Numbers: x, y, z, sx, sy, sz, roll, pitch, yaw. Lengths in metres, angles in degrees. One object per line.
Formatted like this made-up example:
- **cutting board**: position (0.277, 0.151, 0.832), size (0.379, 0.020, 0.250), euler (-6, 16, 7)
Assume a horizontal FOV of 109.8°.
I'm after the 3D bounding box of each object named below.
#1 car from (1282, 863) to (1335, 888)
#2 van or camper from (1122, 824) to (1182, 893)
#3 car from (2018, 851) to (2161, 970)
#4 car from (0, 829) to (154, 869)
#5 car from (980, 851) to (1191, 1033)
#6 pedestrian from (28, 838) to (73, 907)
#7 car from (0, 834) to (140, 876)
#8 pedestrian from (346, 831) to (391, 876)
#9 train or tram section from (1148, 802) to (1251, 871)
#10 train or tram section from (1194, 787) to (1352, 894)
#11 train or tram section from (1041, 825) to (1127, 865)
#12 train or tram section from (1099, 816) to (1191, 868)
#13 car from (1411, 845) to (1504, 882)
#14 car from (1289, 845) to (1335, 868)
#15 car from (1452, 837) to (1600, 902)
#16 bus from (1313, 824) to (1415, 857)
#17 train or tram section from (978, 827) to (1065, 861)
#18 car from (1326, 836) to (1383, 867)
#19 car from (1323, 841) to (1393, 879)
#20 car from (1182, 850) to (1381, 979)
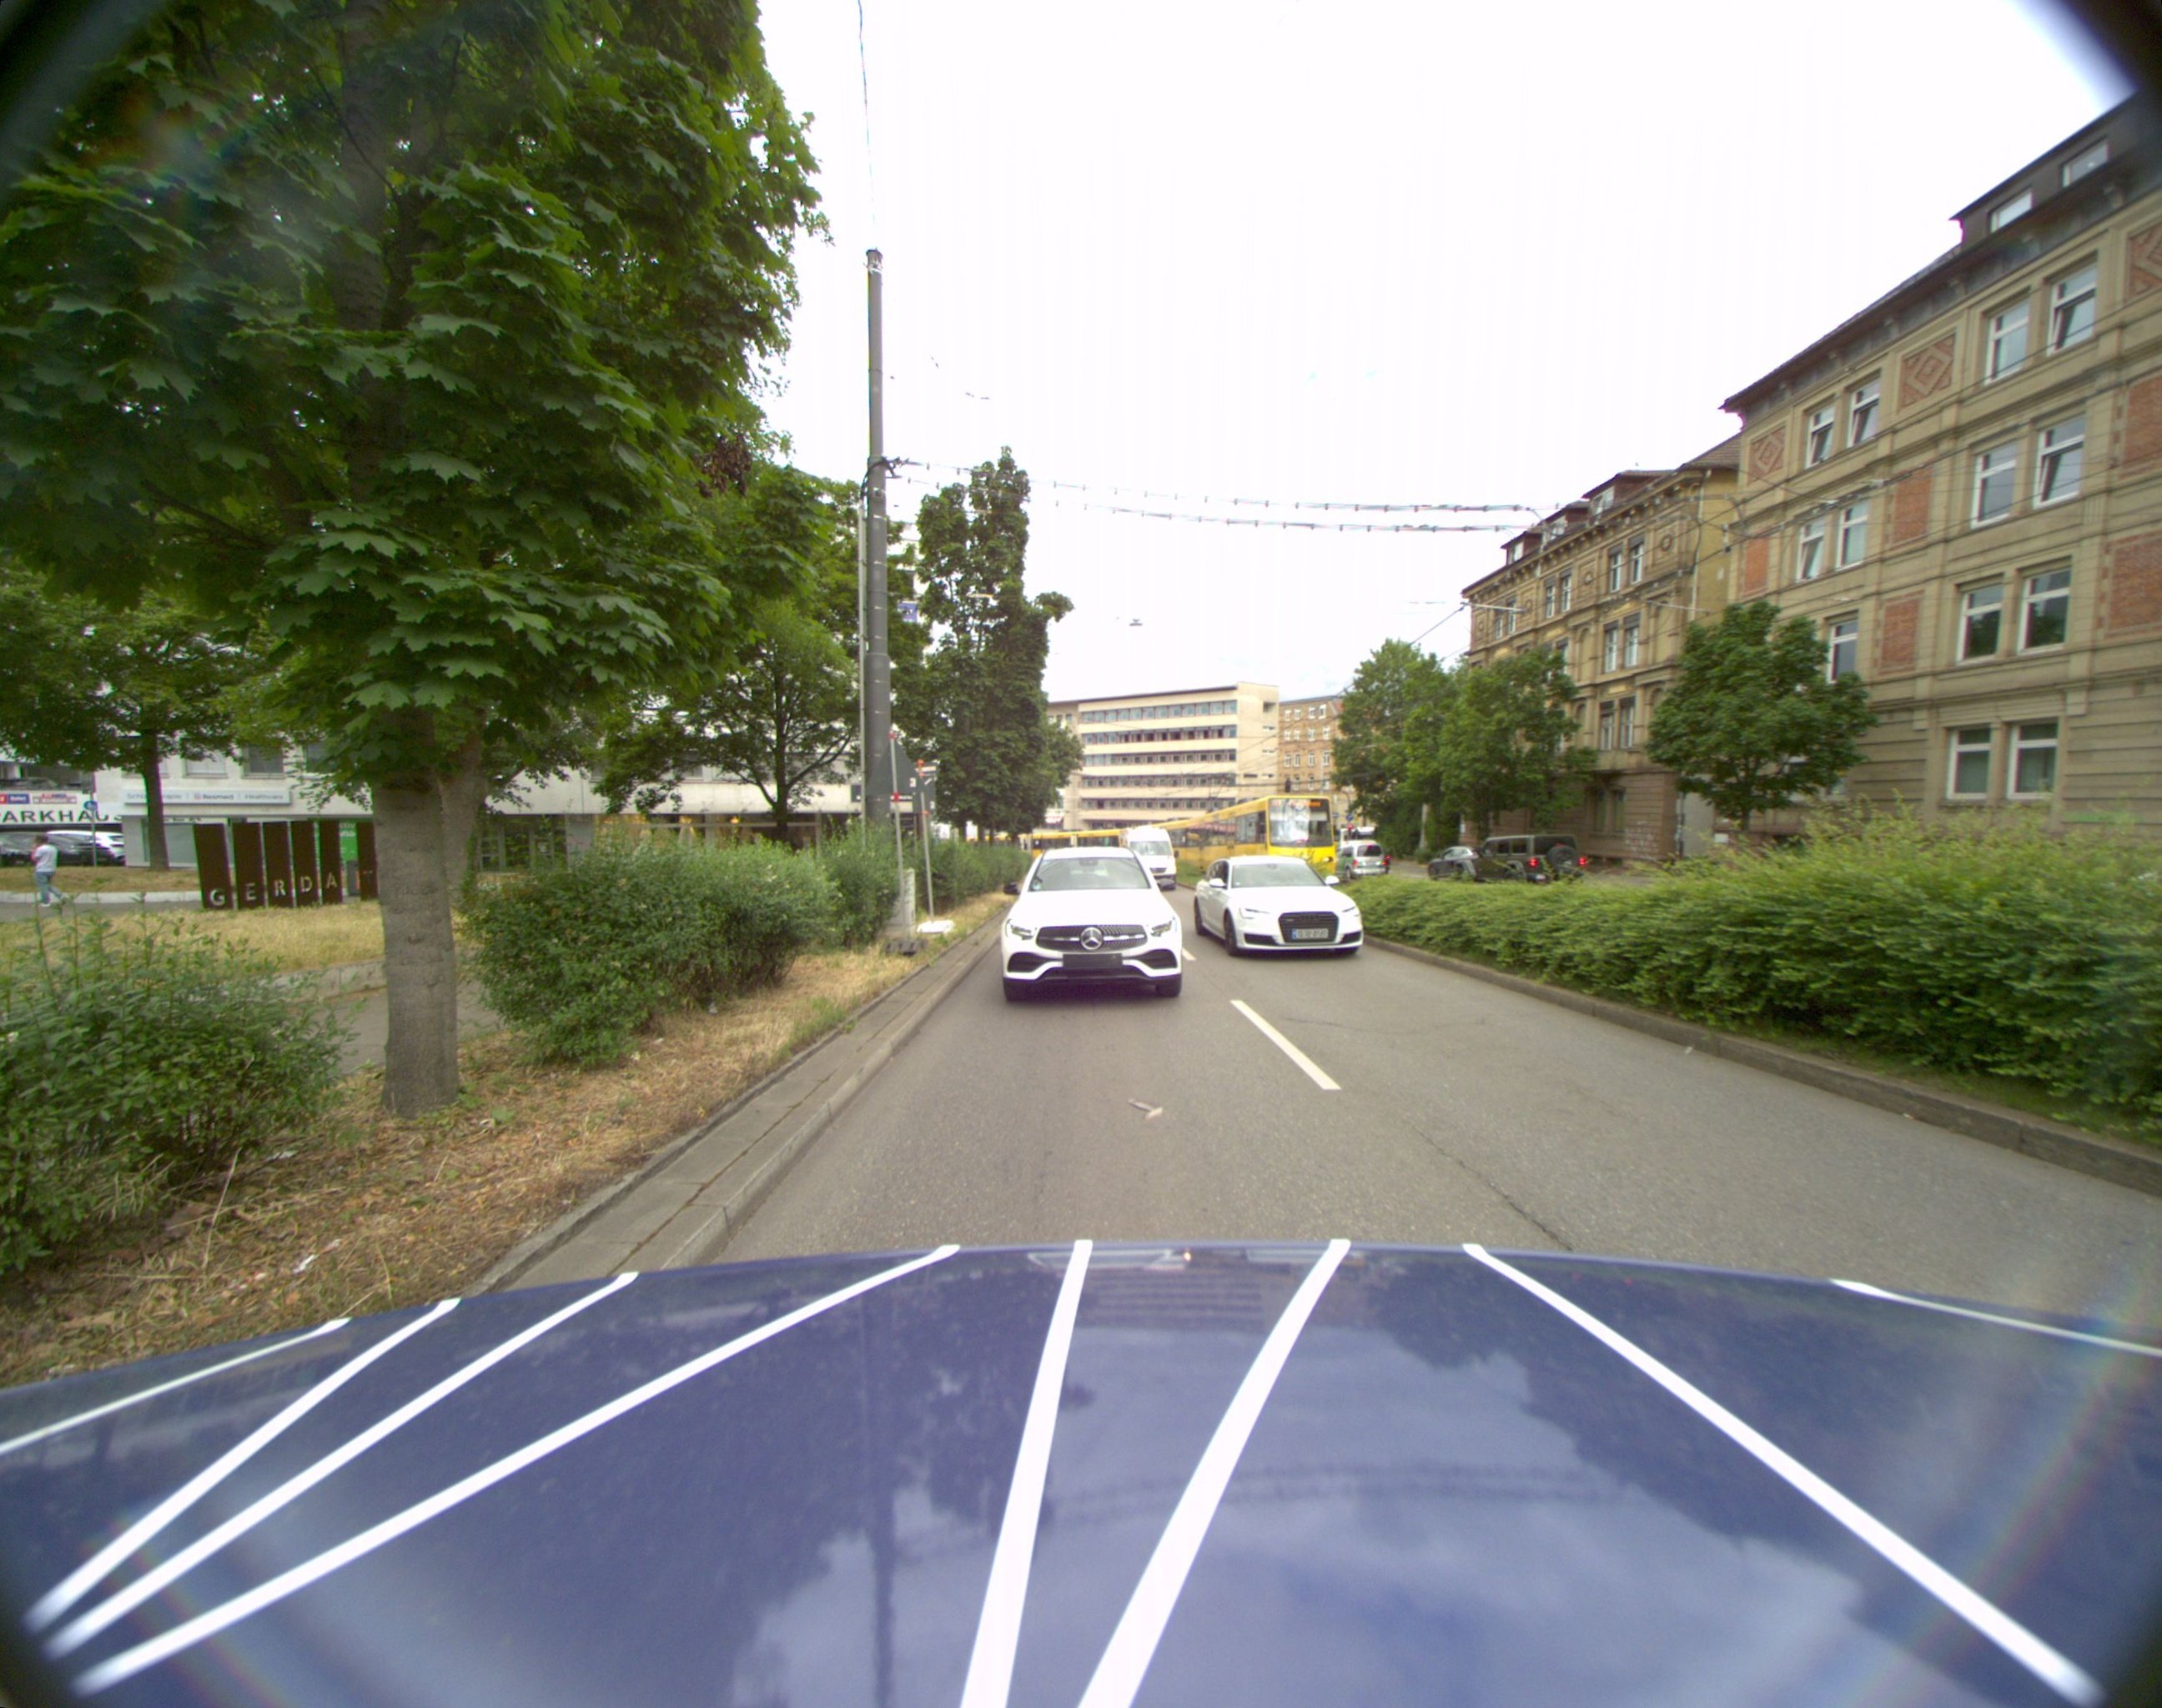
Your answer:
- **car**: position (14.467, 1.383, 48.584), size (1.824, 1.441, 4.947), euler (-3, -1, -1)
- **van or camper**: position (2.973, 0.076, 33.343), size (2.208, 2.544, 6.371), euler (-3, 3, 3)
- **car**: position (14.574, 0.721, 9.044), size (1.745, 1.479, 4.065), euler (-1, 0, -3)
- **car**: position (-43.091, -0.212, 32.729), size (3.631, 1.664, 1.595), euler (0, 1, -27)
- **car**: position (0.018, 0.824, 9.603), size (1.935, 1.622, 4.772), euler (-3, 1, -1)
- **pedestrian**: position (-22.975, 0.402, 16.947), size (0.572, 1.513, 0.541), euler (1, 1, 33)
- **car**: position (-41.346, 0.037, 30.974), size (3.393, 1.639, 1.595), euler (0, 1, -27)
- **pedestrian**: position (-27.347, -0.024, 29.180), size (0.880, 1.691, 0.876), euler (-1, 1, -11)
- **train or tram section**: position (7.064, -1.156, 48.193), size (2.890, 3.643, 14.217), euler (-2, 2, -6)
- **train or tram section**: position (7.871, -0.715, 34.031), size (2.889, 3.643, 14.468), euler (-3, 2, -2)
- **train or tram section**: position (-0.055, -1.055, 76.498), size (2.935, 3.540, 14.196), euler (-4, 4, -24)
- **train or tram section**: position (4.836, -1.076, 62.247), size (2.892, 3.643, 14.208), euler (-3, 2, -14)
- **car**: position (16.739, 0.365, 34.056), size (1.870, 1.546, 4.436), euler (0, 1, -1)
- **car**: position (16.190, 0.150, 53.534), size (1.747, 1.419, 4.404), euler (-3, 2, -2)
- **car**: position (13.922, 0.417, 24.149), size (1.904, 1.865, 4.641), euler (0, 1, -1)
- **bus**: position (28.927, -1.417, 77.343), size (11.566, 3.012, 3.381), euler (-3, 1, -33)
- **train or tram section**: position (-7.221, -1.168, 88.491), size (2.895, 3.423, 14.190), euler (-6, 4, -36)
- **car**: position (19.063, -0.225, 53.226), size (1.999, 1.840, 4.989), euler (-2, 3, -3)
- **car**: position (14.204, 0.254, 39.216), size (1.884, 1.777, 4.516), euler (-2, 1, -1)
- **car**: position (2.950, 0.787, 12.250), size (1.897, 1.467, 4.529), euler (-3, 2, -1)
